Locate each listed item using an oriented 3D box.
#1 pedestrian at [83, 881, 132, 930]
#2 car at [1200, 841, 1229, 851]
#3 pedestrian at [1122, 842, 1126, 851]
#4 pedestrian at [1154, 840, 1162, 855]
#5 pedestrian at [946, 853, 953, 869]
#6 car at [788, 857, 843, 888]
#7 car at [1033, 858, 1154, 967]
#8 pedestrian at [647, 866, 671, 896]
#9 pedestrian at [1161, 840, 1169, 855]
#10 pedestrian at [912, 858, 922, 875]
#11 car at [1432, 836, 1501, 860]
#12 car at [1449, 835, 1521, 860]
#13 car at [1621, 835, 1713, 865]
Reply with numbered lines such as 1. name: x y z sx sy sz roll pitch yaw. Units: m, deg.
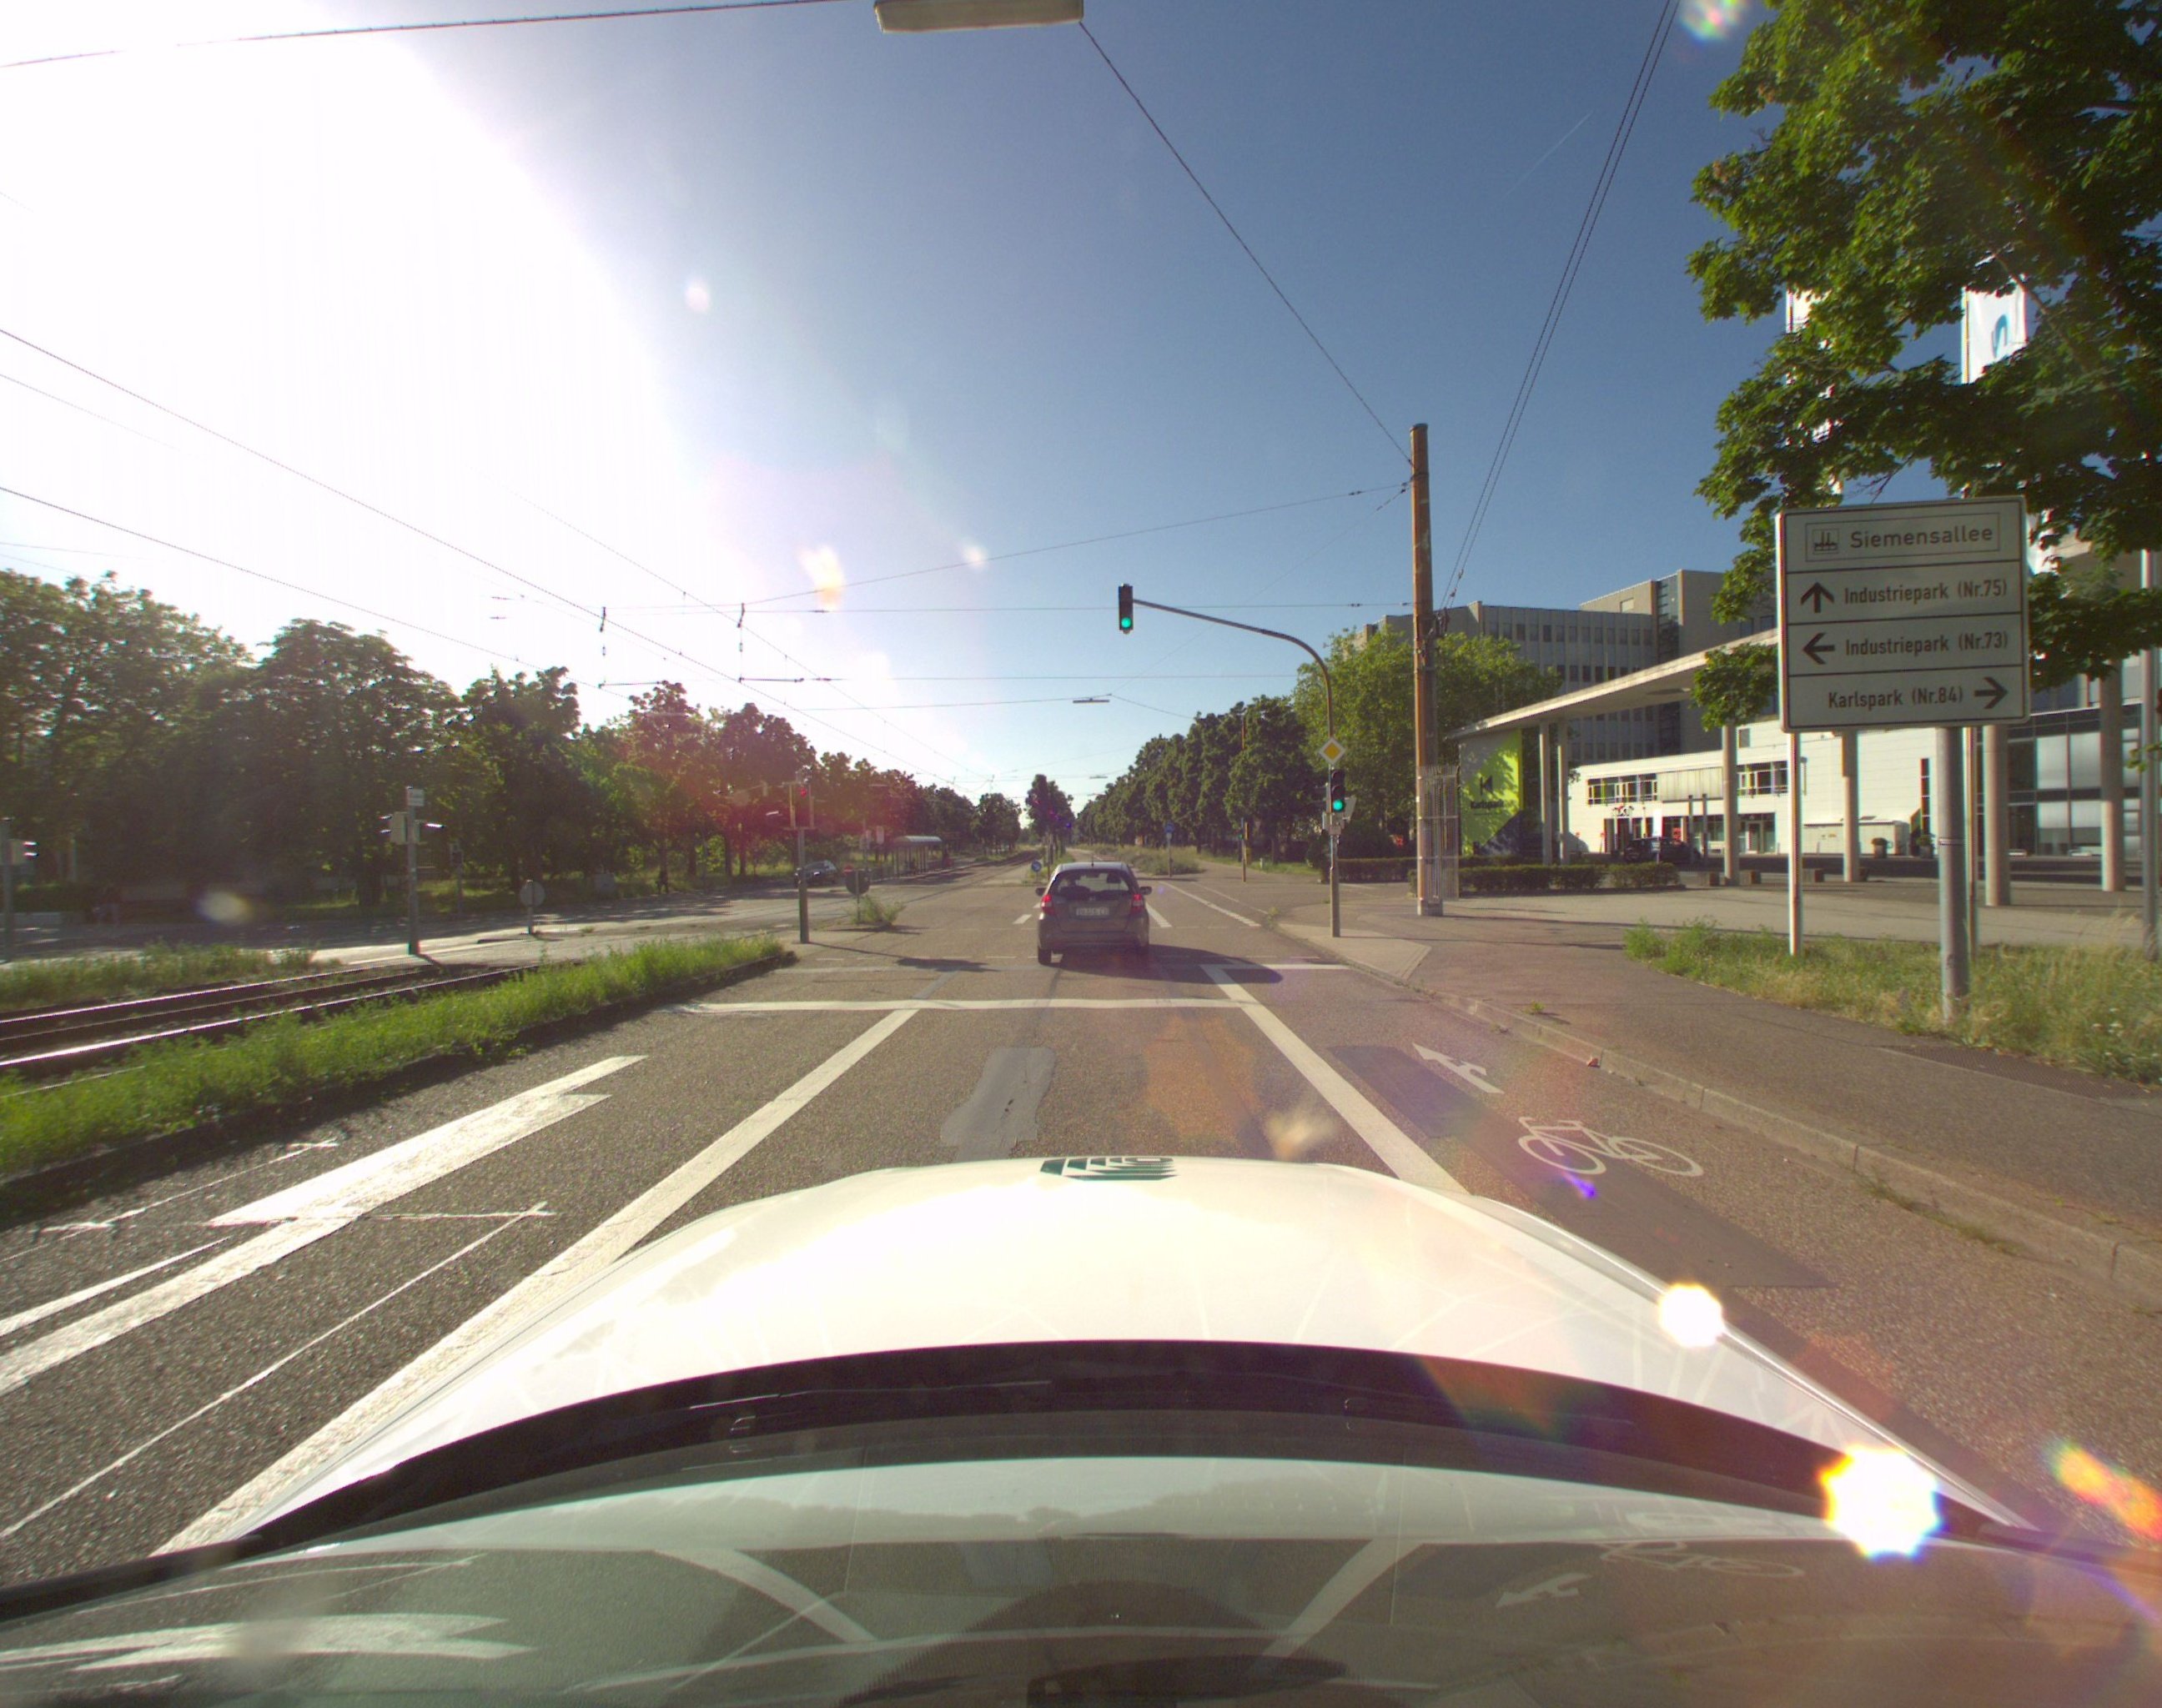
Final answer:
1. pedestrian: -37.243 1.964 31.161 0.943 1.787 0.824 -2 0 15
2. car: 23.086 -1.394 140.760 4.623 1.555 1.997 -2 0 -5
3. pedestrian: 7.583 -1.311 144.021 0.723 1.690 0.820 -2 -1 -1
4. pedestrian: 9.773 -0.807 103.437 0.880 1.884 0.875 -2 0 -2
5. pedestrian: -12.443 0.654 77.052 0.542 1.447 0.559 -3 0 1
6. car: -18.029 1.240 55.484 2.087 1.810 4.792 -4 1 0
7. car: 0.232 0.852 13.408 1.694 1.524 3.711 -1 -1 2
8. pedestrian: -25.093 1.594 48.386 0.751 1.734 0.943 -2 0 30
9. pedestrian: 10.713 -0.816 103.433 0.880 1.884 0.875 -2 0 -2
10. pedestrian: -12.609 0.959 62.481 0.562 1.257 0.581 -4 0 1
11. car: 29.878 -0.443 63.183 4.448 1.686 1.892 -2 0 -4
12. car: 30.062 -0.487 60.614 4.448 1.686 1.892 -2 0 -4
13. car: 33.168 -0.238 46.163 3.984 1.578 1.949 -1 0 -8
